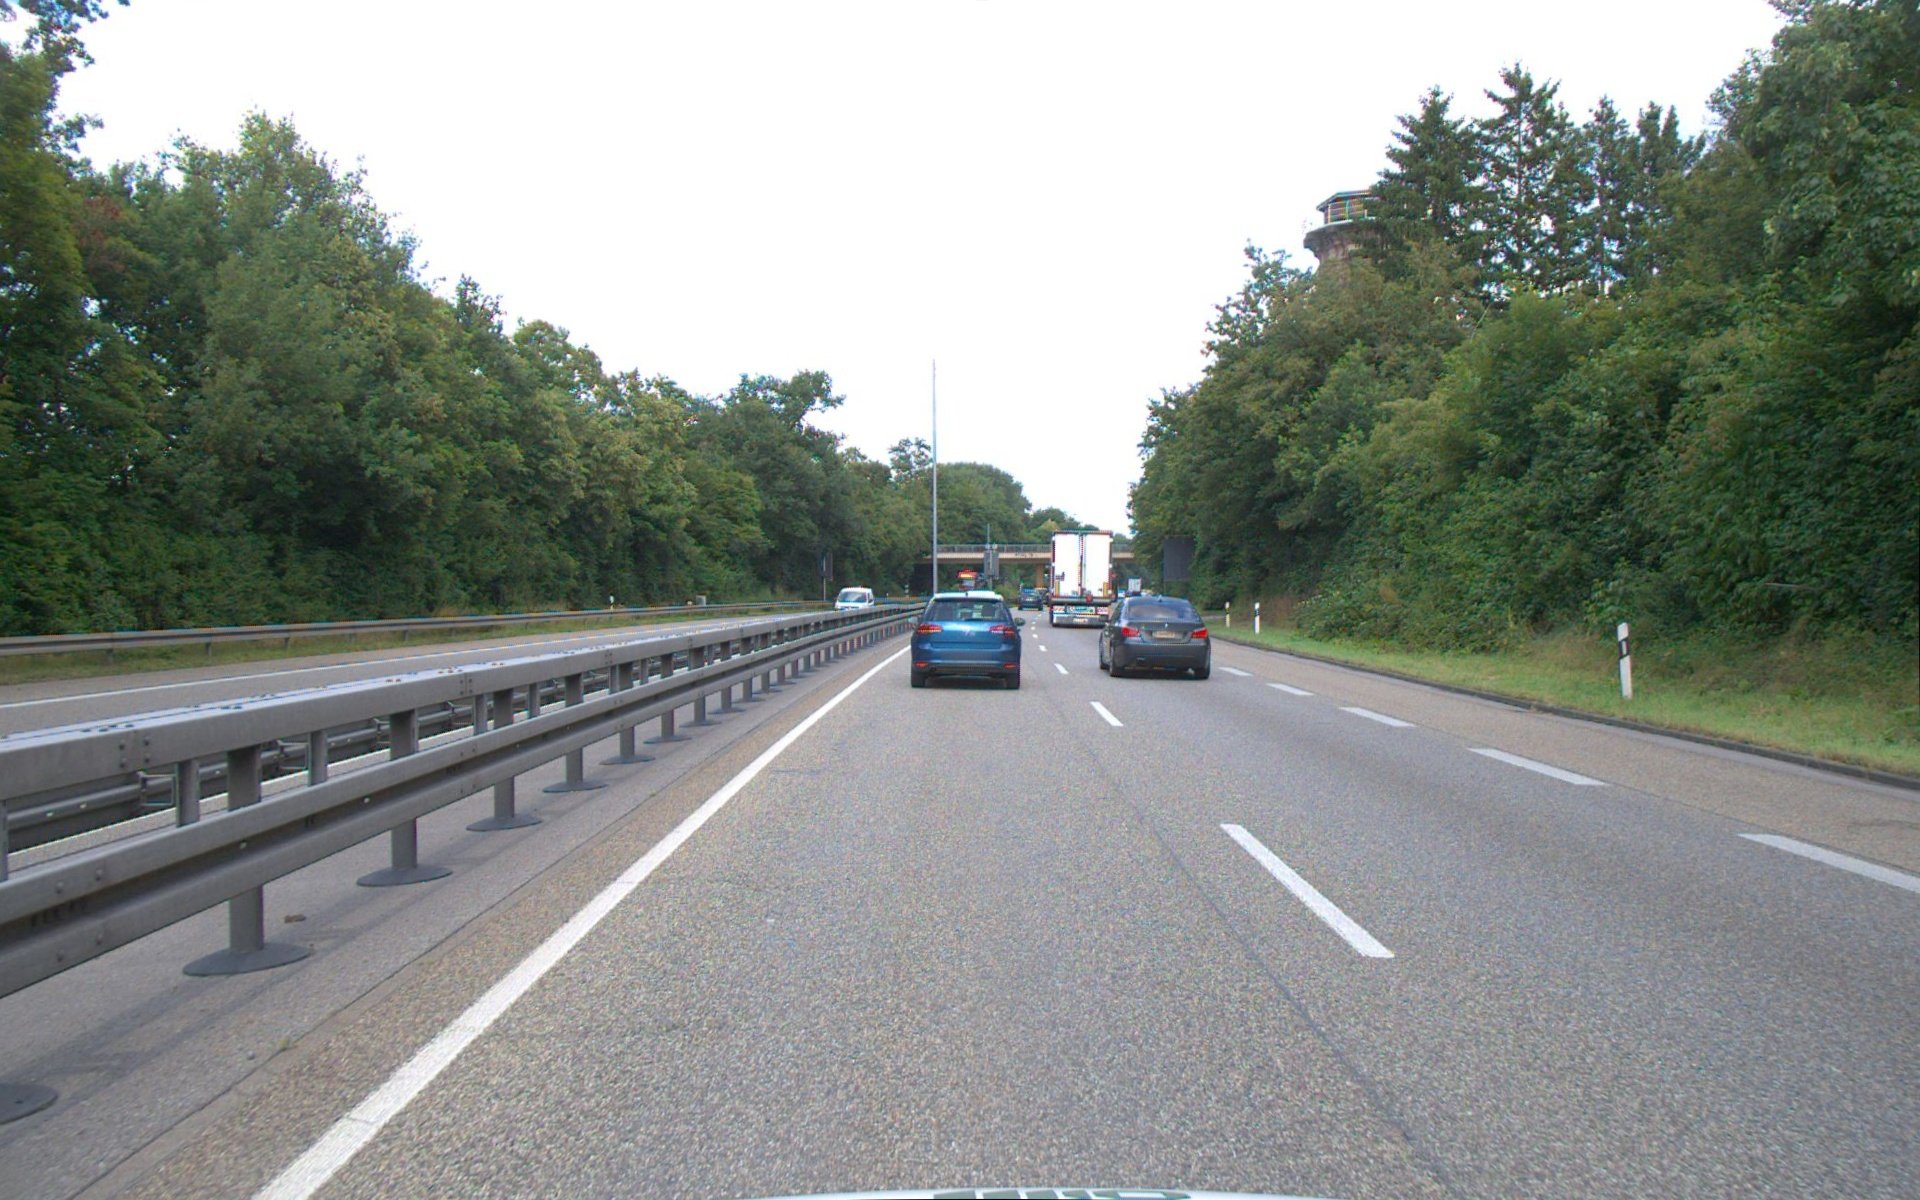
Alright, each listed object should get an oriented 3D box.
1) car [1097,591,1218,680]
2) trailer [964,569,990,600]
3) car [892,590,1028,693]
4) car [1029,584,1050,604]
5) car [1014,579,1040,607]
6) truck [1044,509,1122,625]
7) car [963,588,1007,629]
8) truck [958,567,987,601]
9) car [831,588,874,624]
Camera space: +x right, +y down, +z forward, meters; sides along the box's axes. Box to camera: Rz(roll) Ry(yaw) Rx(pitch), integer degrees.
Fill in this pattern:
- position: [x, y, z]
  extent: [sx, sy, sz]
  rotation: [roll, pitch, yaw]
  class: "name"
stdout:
- position: [3.652, 0.606, 31.367]
  extent: [1.738, 1.501, 4.881]
  rotation: [1, 0, 1]
  class: "car"
- position: [2.211, -1.935, 213.543]
  extent: [2.876, 3.900, 10.314]
  rotation: [-1, 0, 3]
  class: "trailer"
- position: [0.082, 0.618, 26.761]
  extent: [1.669, 1.495, 4.003]
  rotation: [1, 0, 7]
  class: "car"
- position: [7.304, -0.593, 152.290]
  extent: [1.729, 1.803, 4.026]
  rotation: [0, 0, 6]
  class: "car"
- position: [5.146, -0.539, 126.016]
  extent: [1.913, 2.049, 4.002]
  rotation: [0, 0, 3]
  class: "car"
- position: [5.446, -1.400, 73.924]
  extent: [3.174, 4.798, 11.012]
  rotation: [0, 0, 4]
  class: "truck"
- position: [0.997, 0.307, 65.380]
  extent: [1.631, 1.526, 4.152]
  rotation: [1, 0, 1]
  class: "car"
- position: [1.612, -1.932, 203.194]
  extent: [2.893, 3.923, 10.328]
  rotation: [-1, 0, 4]
  class: "truck"
- position: [-5.605, 0.302, 87.022]
  extent: [1.806, 1.850, 5.479]
  rotation: [0, 0, 1]
  class: "car"
